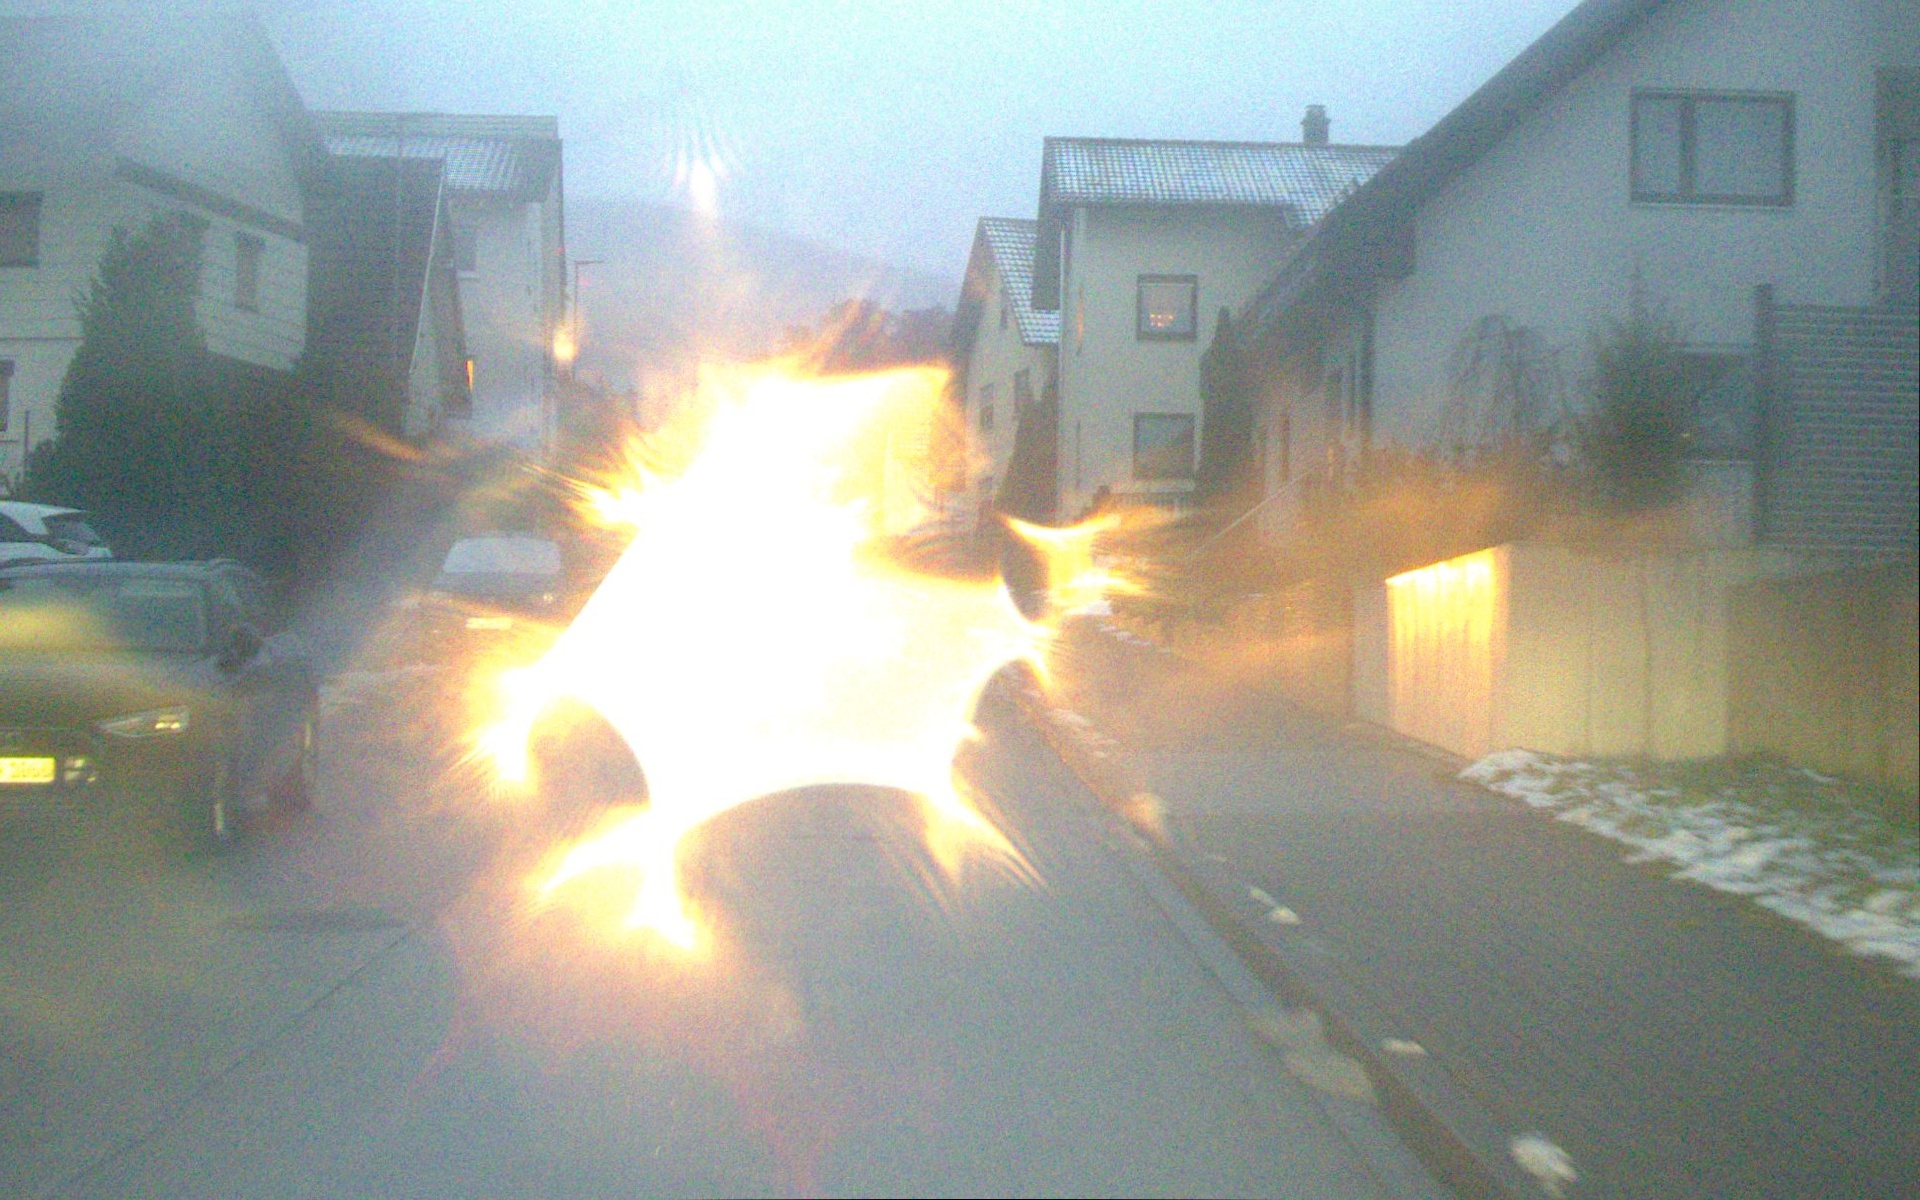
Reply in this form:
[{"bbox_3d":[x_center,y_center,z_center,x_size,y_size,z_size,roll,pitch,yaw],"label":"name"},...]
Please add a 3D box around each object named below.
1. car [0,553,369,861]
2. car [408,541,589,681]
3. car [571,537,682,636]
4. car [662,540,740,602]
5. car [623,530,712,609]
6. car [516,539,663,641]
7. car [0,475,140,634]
[{"bbox_3d":[-4.418,0.480,18.045,1.877,1.390,5.075,0,0,-1],"label":"car"},{"bbox_3d":[-5.434,0.122,40.892,1.683,1.579,4.176,0,0,-1],"label":"car"},{"bbox_3d":[-6.392,-0.292,66.307,1.825,1.829,4.345,0,1,-2],"label":"car"},{"bbox_3d":[-7.417,-0.818,98.791,1.993,1.644,4.000,-2,-1,-2],"label":"car"},{"bbox_3d":[-6.841,-0.727,80.737,1.993,1.794,4.001,-1,1,-4],"label":"car"},{"bbox_3d":[-5.656,-0.182,52.939,1.794,1.498,4.310,0,1,0],"label":"car"},{"bbox_3d":[-10.950,-0.524,36.430,3.987,1.612,1.888,2,0,3],"label":"car"}]
